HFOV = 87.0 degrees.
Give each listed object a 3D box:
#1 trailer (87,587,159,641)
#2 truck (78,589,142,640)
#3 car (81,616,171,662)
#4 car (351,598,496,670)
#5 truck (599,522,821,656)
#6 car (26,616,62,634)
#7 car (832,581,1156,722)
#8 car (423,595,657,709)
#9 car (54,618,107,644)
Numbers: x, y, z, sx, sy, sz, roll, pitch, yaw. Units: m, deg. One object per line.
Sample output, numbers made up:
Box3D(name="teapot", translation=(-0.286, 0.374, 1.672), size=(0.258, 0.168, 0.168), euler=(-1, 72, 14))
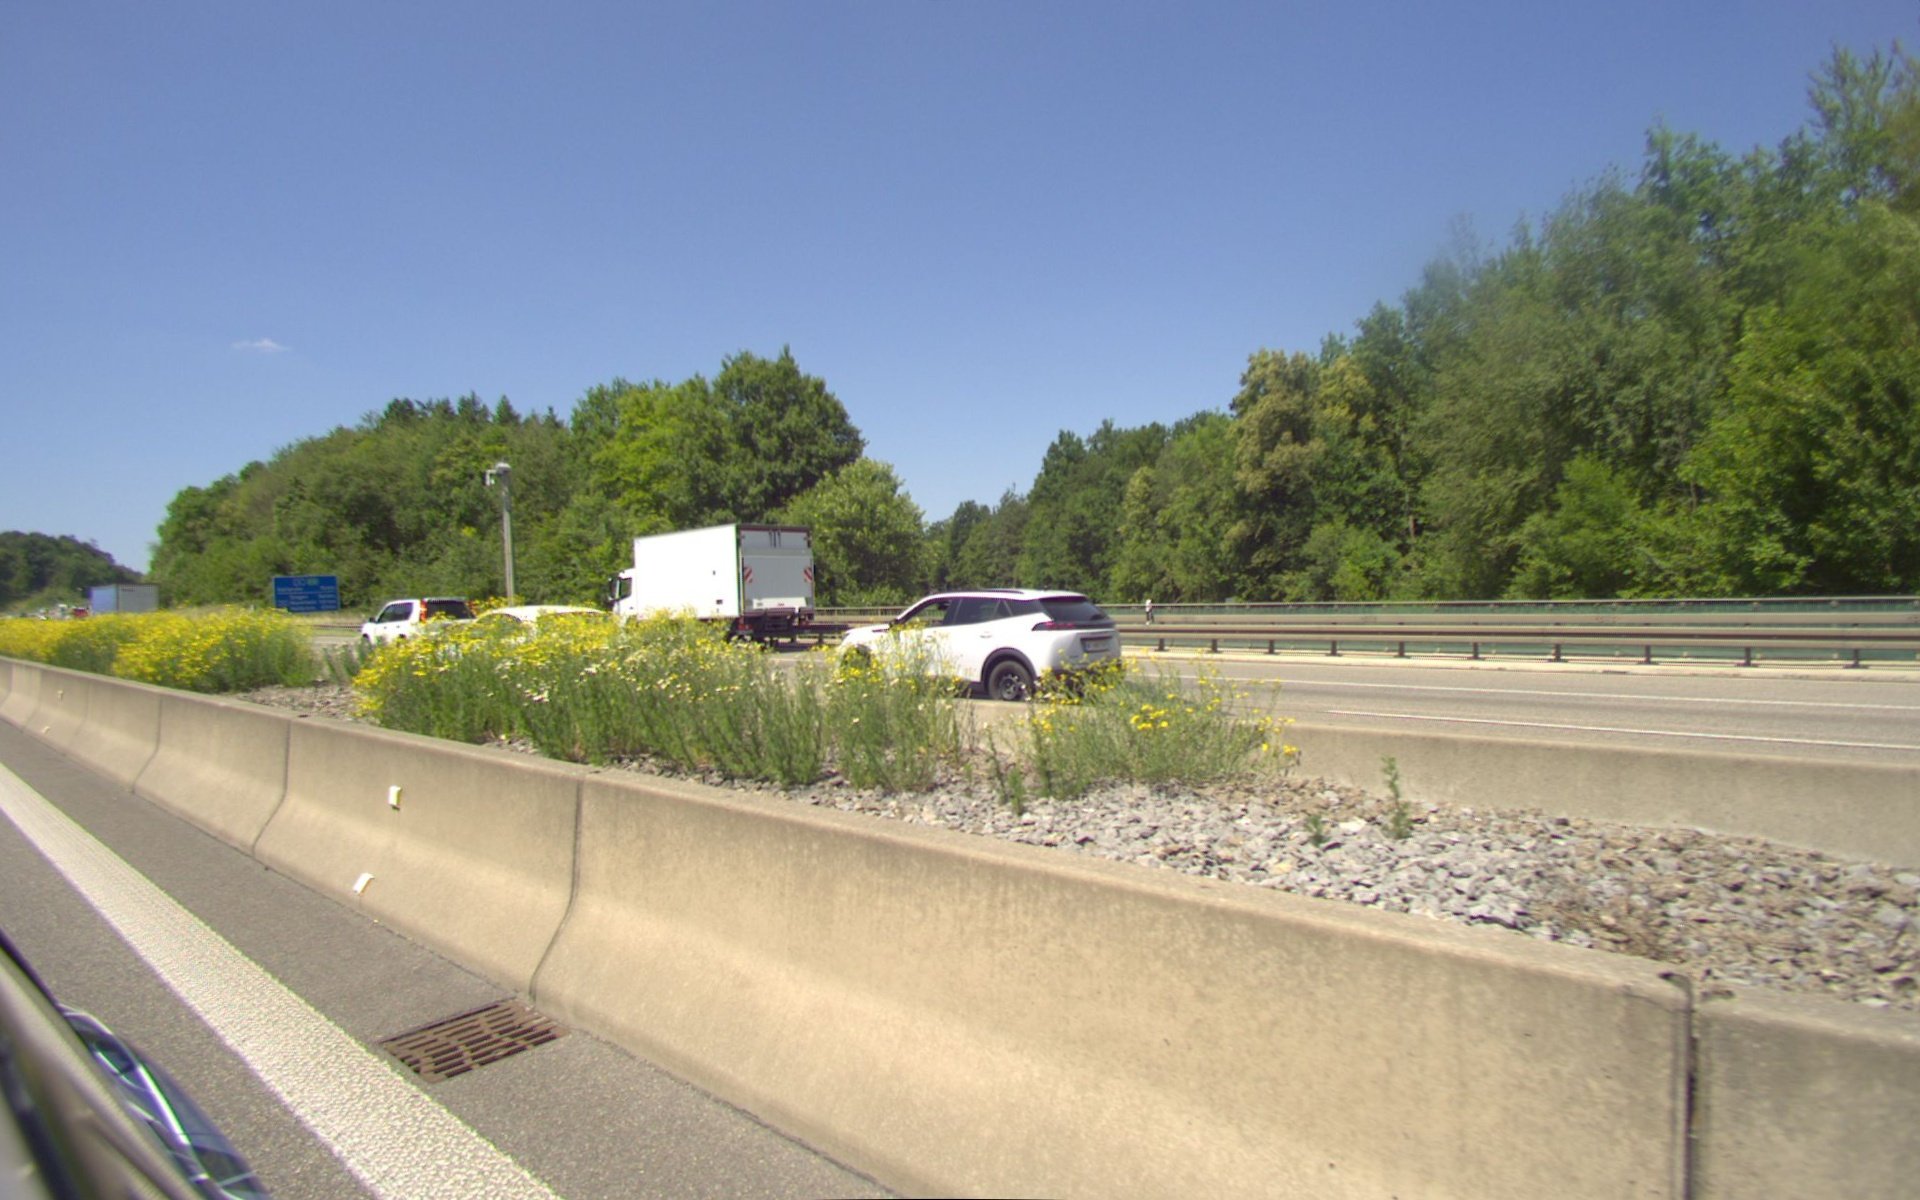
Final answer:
Box3D(name="trailer", translation=(-64.059, 1.109, 77.383), size=(10.167, 3.886, 2.751), euler=(-2, 0, 42))
Box3D(name="truck", translation=(-67.801, 1.184, 80.673), size=(8.410, 3.886, 2.719), euler=(-2, 0, 42))
Box3D(name="car", translation=(-28.382, 1.295, 34.403), size=(4.076, 1.430, 1.786), euler=(-1, 0, 42))
Box3D(name="car", translation=(-14.288, 0.859, 26.850), size=(4.529, 1.714, 1.972), euler=(-1, 0, 42))
Box3D(name="truck", translation=(-7.543, -0.231, 29.891), size=(7.313, 3.501, 2.706), euler=(-1, 0, 42))
Box3D(name="car", translation=(-84.136, 2.281, 92.954), size=(4.638, 1.573, 1.972), euler=(-1, 0, 42))
Box3D(name="car", translation=(0.336, 0.597, 13.213), size=(3.999, 1.558, 1.822), euler=(-1, -1, 42))
Box3D(name="car", translation=(-6.234, 0.692, 14.799), size=(4.035, 1.438, 1.614), euler=(-1, -1, 42))
Box3D(name="car", translation=(-57.900, 2.027, 66.614), size=(4.798, 1.542, 2.114), euler=(-1, 0, 42))
